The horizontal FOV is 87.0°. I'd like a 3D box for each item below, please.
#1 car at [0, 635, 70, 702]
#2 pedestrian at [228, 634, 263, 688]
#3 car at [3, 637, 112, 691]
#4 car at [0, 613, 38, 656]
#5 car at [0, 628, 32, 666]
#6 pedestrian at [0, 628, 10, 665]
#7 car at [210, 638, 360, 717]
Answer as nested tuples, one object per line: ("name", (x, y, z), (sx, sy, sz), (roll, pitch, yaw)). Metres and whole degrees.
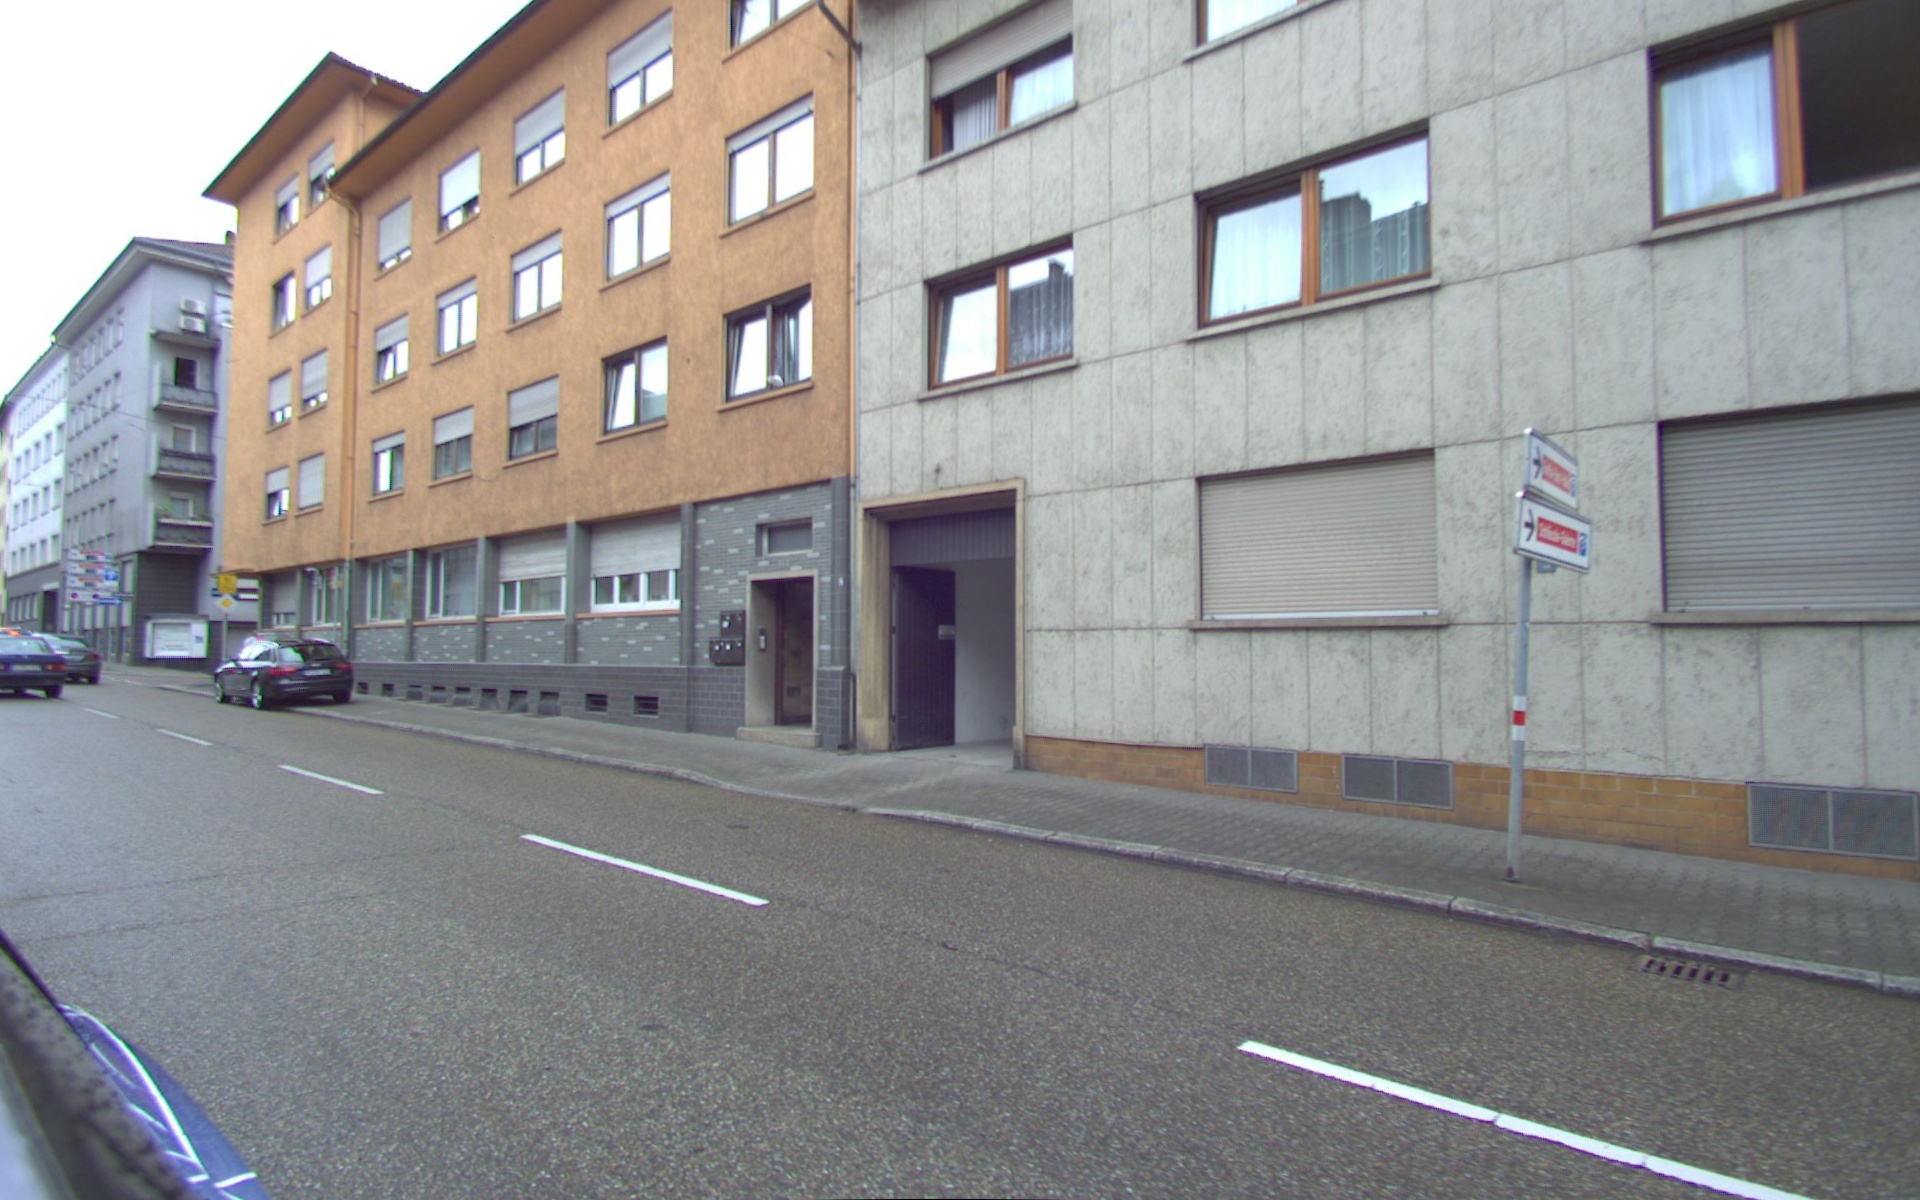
("car", (-21.598, 1.466, 22.581), (4.353, 1.381, 1.584), (0, -5, 36))
("pedestrian", (-22.946, 1.949, 32.508), (0.757, 1.652, 1.024), (0, 0, -44))
("car", (-26.898, 1.886, 30.131), (4.362, 1.381, 1.678), (0, -5, 39))
("car", (-35.904, 1.276, 37.636), (4.370, 1.484, 1.705), (-2, -5, 40))
("car", (-47.507, 2.321, 50.119), (4.216, 1.735, 1.832), (-1, 0, 41))
("pedestrian", (-53.651, 2.583, 56.100), (1.257, 2.029, 1.292), (-1, 0, 41))
("car", (-15.265, 1.663, 22.801), (4.216, 1.485, 1.776), (-1, 0, 41))
